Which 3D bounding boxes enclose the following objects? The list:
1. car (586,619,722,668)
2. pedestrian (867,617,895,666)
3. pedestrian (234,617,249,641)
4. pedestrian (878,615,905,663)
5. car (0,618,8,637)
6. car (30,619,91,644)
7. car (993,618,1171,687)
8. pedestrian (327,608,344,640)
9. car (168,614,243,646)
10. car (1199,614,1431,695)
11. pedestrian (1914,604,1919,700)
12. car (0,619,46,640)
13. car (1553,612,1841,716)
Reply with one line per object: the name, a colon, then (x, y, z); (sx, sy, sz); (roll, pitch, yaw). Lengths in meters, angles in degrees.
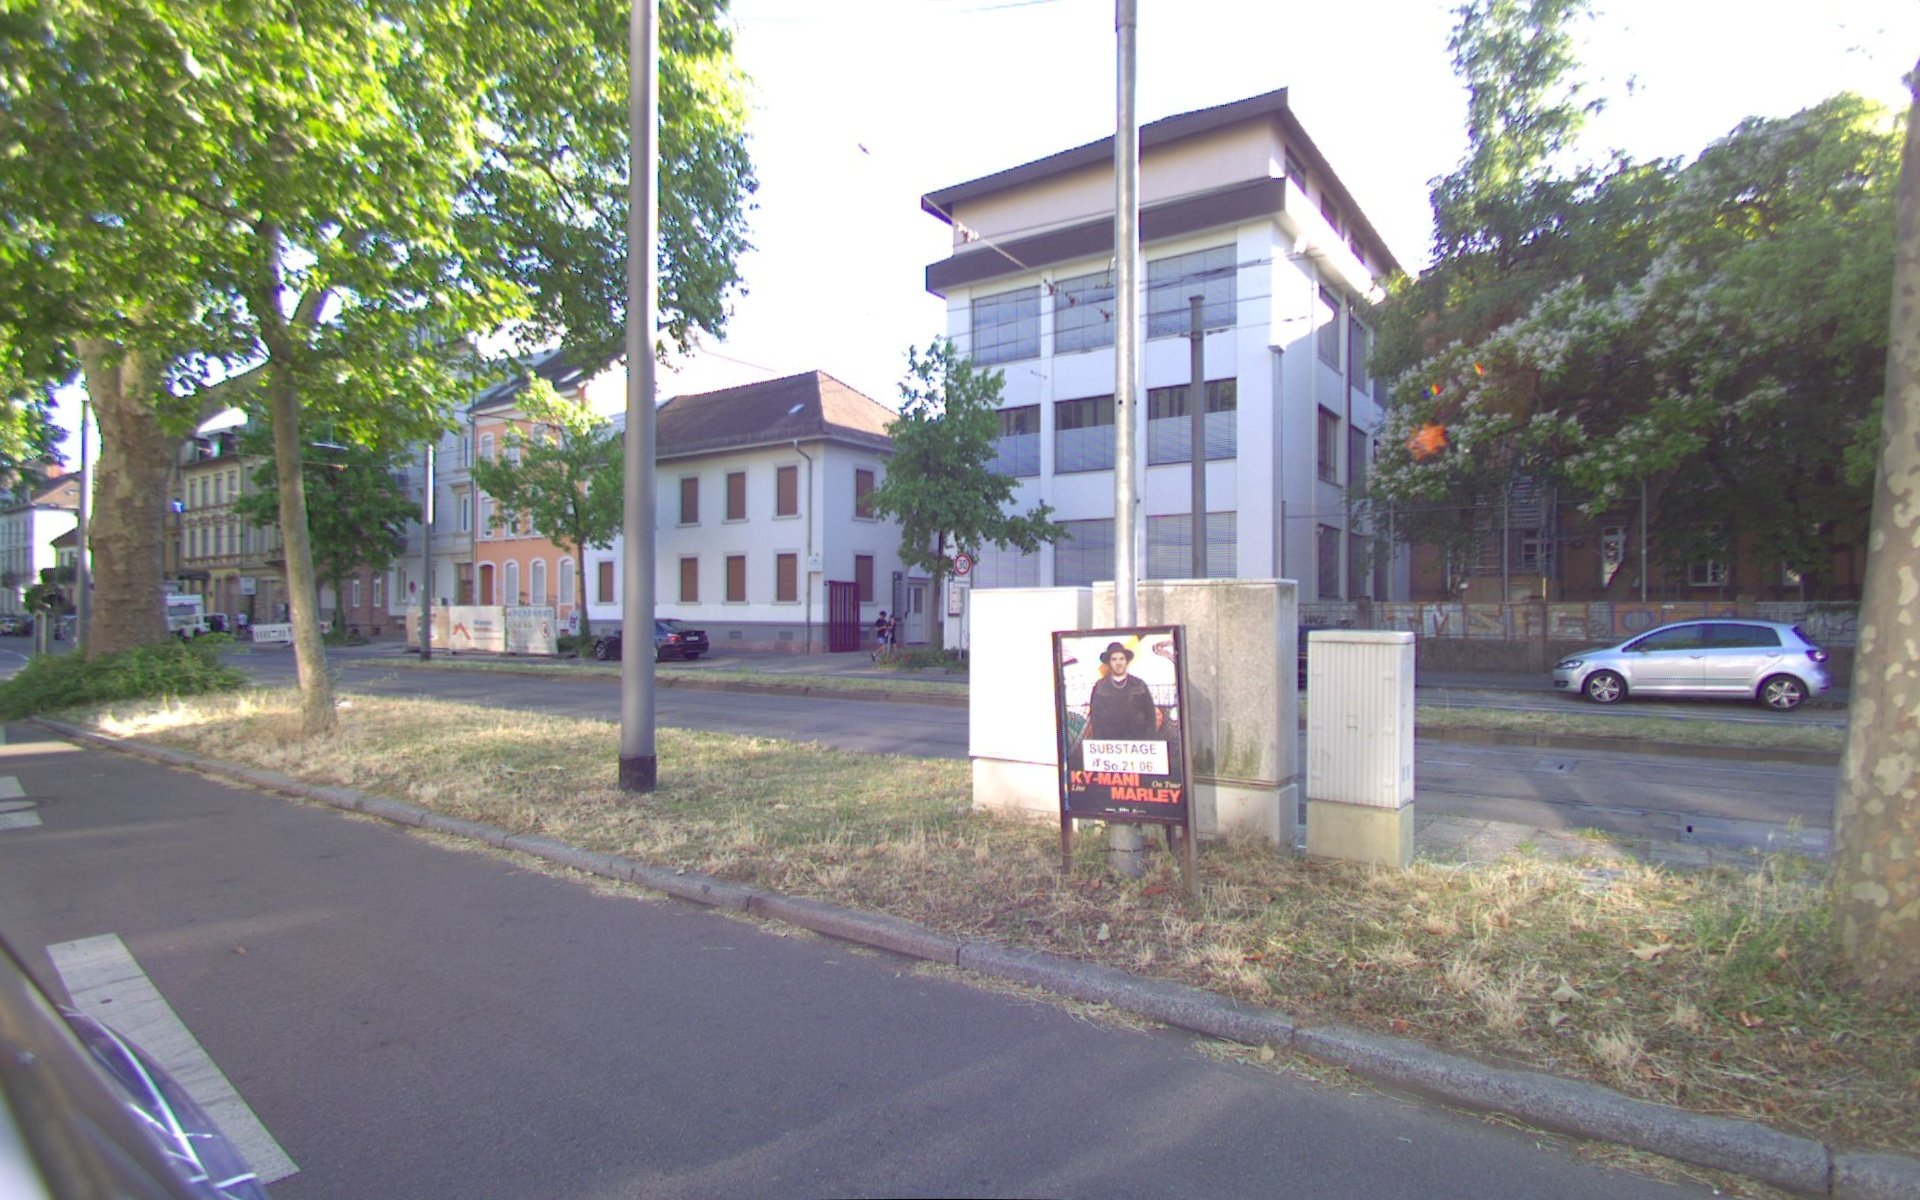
car: (-10.662, 1.454, 35.162); (4.566, 1.481, 2.065); (-1, 1, 33)
pedestrian: (-2.540, 1.332, 32.439); (0.709, 1.540, 0.532); (-1, -2, 29)
pedestrian: (-45.605, 1.822, 64.243); (0.614, 1.540, 0.633); (-1, -2, 36)
pedestrian: (-2.242, 1.276, 33.235); (0.710, 1.540, 0.531); (-1, -2, 35)
car: (-81.385, 2.292, 84.308); (4.027, 1.551, 2.065); (-1, 1, 33)
car: (-63.522, 2.195, 71.455); (4.504, 1.551, 2.065); (-1, 1, 33)
car: (3.067, 1.267, 25.668); (3.986, 1.501, 2.065); (-1, 1, 33)
pedestrian: (-35.254, 1.361, 57.148); (0.703, 1.823, 0.555); (-1, -2, 35)
car: (-44.124, 1.738, 59.183); (4.520, 1.686, 2.065); (-1, 1, 33)
car: (7.768, 1.119, 22.239); (4.444, 1.513, 2.065); (-1, 1, 33)
pedestrian: (17.170, 0.922, 17.678); (0.630, 1.677, 0.563); (-1, 1, 34)
car: (-73.923, 2.294, 79.392); (5.090, 1.551, 2.065); (-1, 1, 33)
car: (13.348, 1.082, 18.665); (4.086, 1.631, 2.065); (-1, 1, 33)
